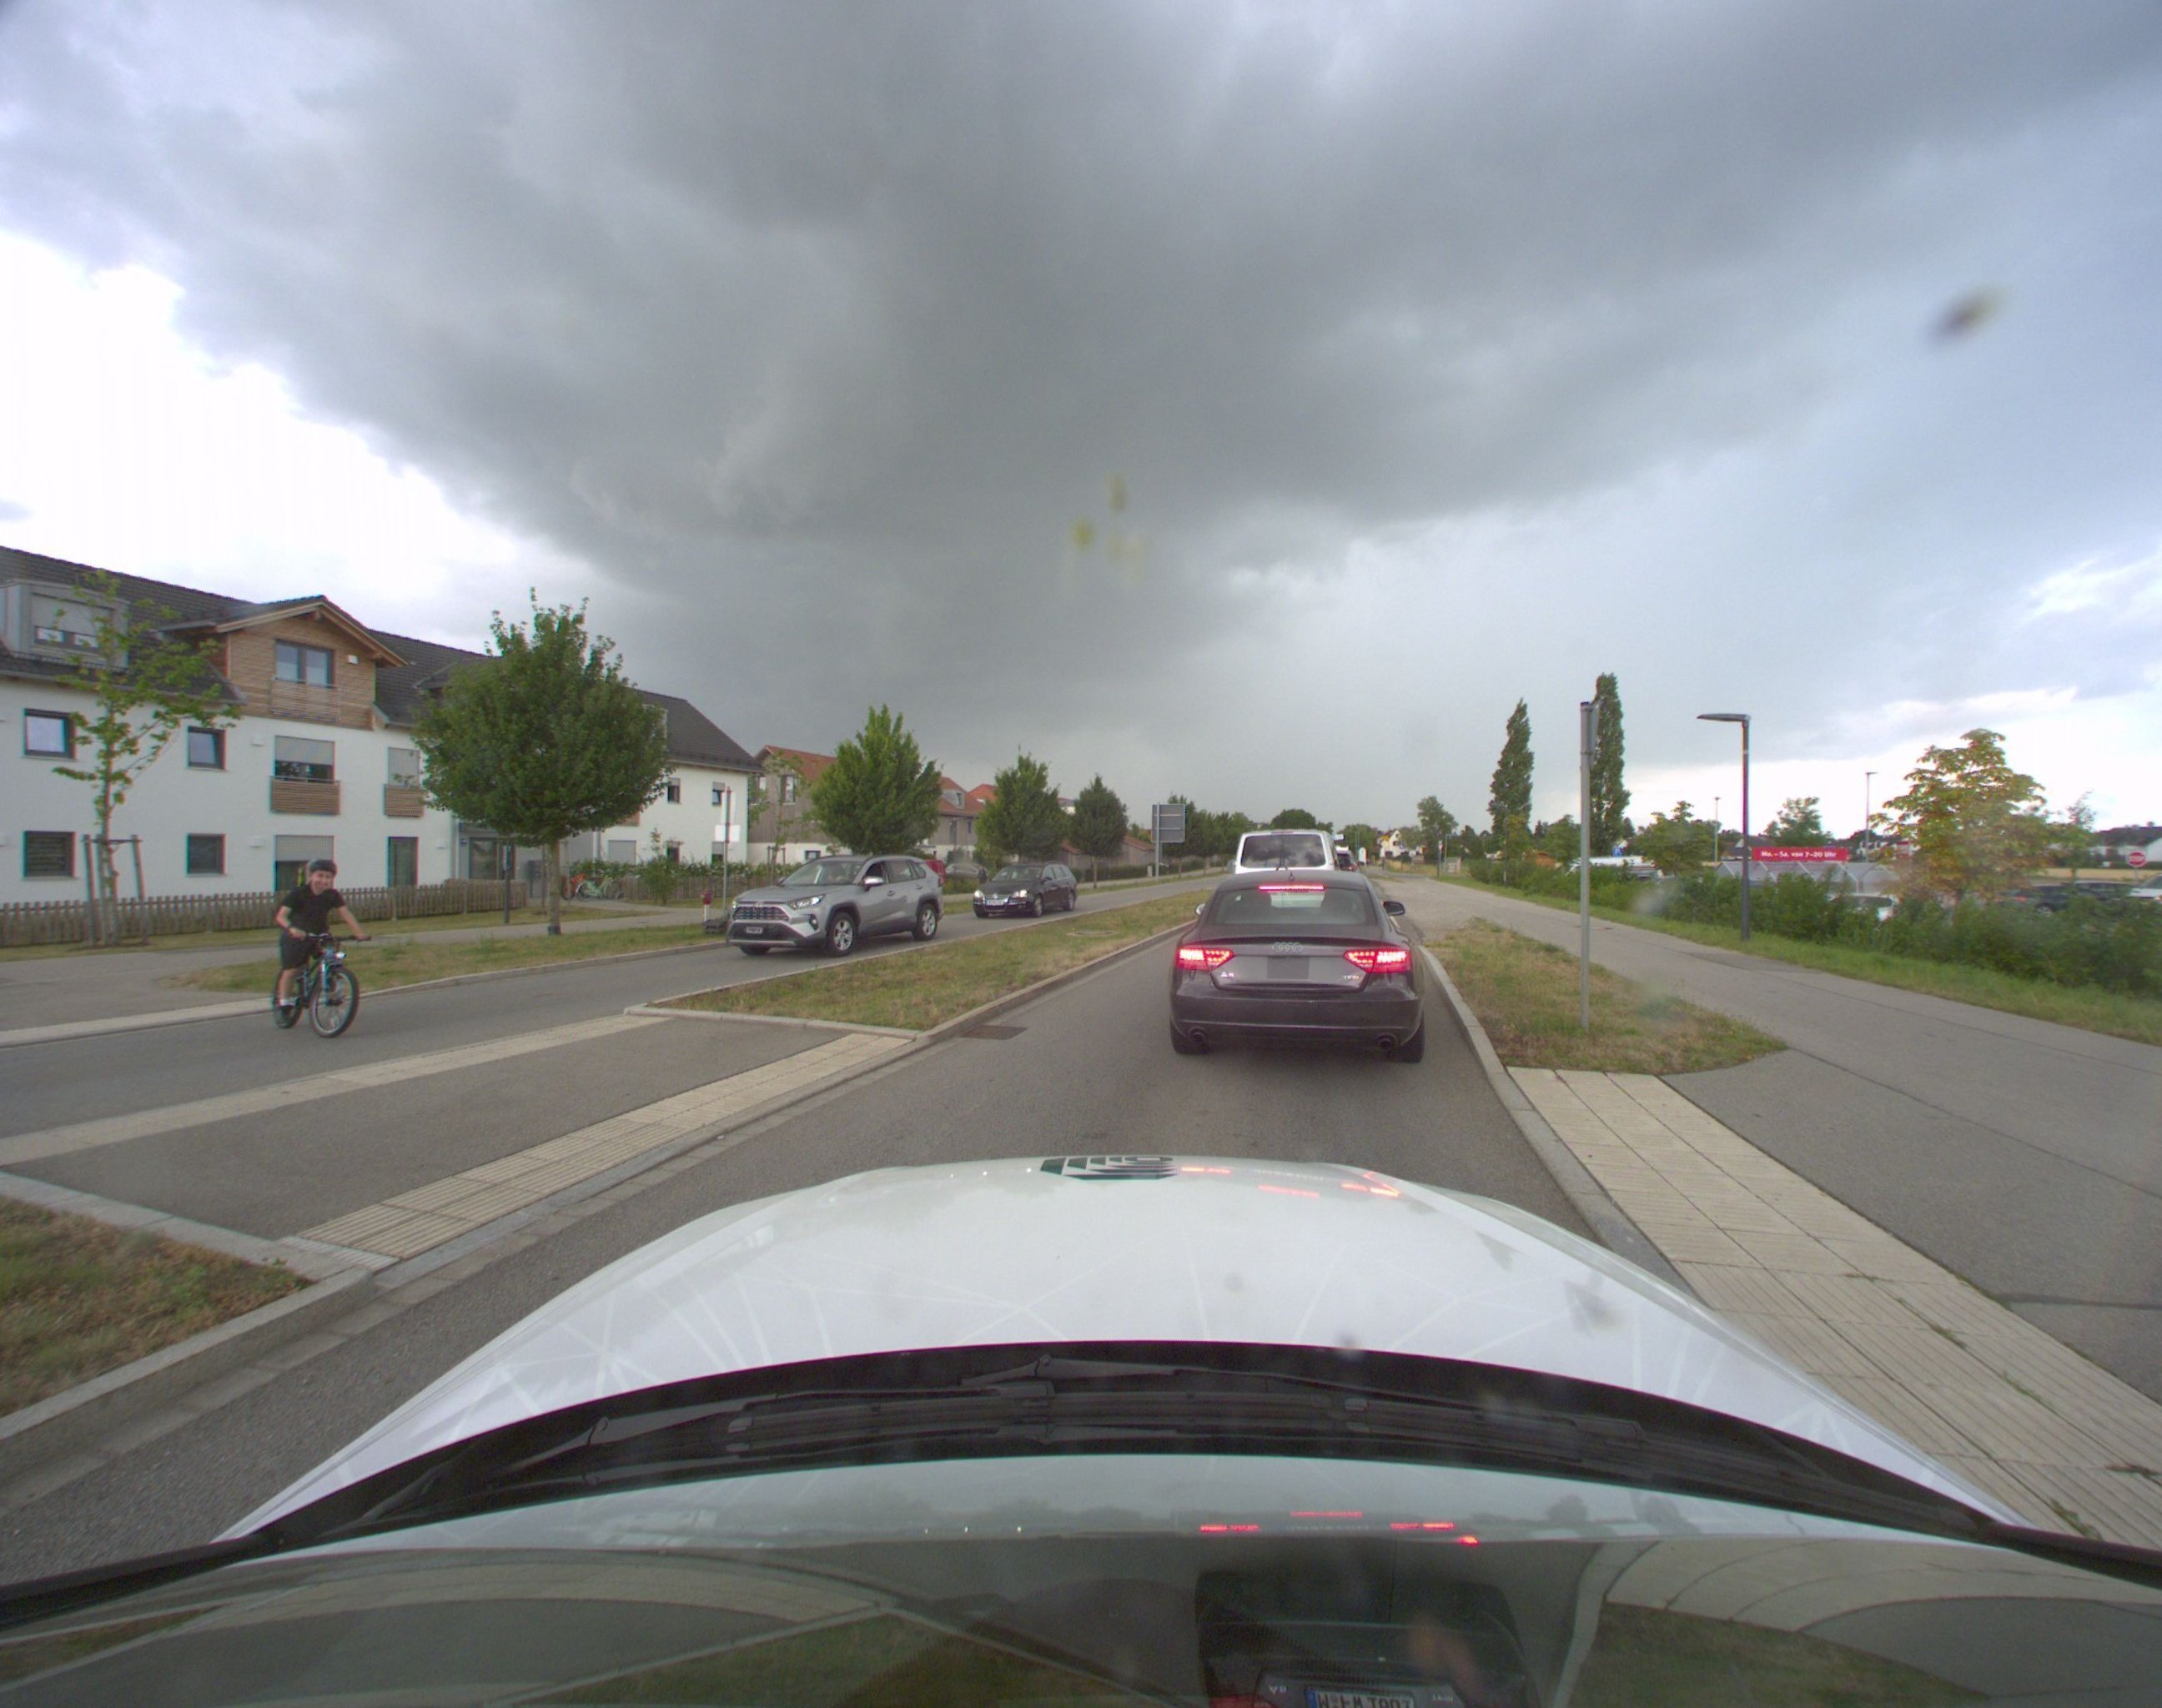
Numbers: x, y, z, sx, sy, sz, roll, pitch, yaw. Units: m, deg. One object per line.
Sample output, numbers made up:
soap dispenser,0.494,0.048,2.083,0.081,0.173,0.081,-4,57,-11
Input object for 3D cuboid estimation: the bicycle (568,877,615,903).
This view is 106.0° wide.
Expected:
bicycle,-17.730,1.298,29.514,0.364,0.843,1.554,3,1,20

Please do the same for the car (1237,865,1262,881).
car,15.793,1.753,76.067,1.716,1.410,4.227,0,0,20

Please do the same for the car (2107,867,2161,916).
car,48.425,1.620,35.244,5.080,2.013,2.005,0,1,7

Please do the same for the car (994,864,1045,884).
car,-4.878,1.557,64.873,3.702,1.482,1.693,1,0,15

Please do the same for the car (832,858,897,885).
car,-14.986,1.174,56.711,1.976,1.772,4.490,0,-1,23

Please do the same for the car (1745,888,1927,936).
car,26.097,1.966,28.336,4.199,1.440,2.009,0,0,18

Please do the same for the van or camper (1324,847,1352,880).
van or camper,26.721,0.990,84.645,2.604,3.324,6.852,1,-1,18

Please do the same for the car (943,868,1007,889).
car,-7.212,1.642,55.383,3.885,1.315,1.850,0,0,16

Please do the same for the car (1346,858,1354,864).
car,56.082,1.479,169.783,1.600,1.272,3.478,1,0,19

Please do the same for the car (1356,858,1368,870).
car,40.365,1.391,117.171,1.600,1.631,3.633,1,0,19

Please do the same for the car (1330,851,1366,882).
car,14.565,0.682,44.465,1.762,1.618,4.018,0,-1,18

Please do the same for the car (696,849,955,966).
car,-4.227,0.806,14.425,1.977,1.704,4.657,-1,0,19

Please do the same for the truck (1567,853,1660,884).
truck,35.000,0.938,53.692,4.762,1.872,2.007,1,0,14

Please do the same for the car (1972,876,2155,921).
car,40.835,1.822,34.011,4.520,1.664,2.009,0,0,18

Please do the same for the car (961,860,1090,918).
car,-1.418,0.912,22.689,1.738,1.416,4.479,-2,-1,22

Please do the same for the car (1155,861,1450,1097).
car,1.931,0.784,7.125,1.770,1.391,4.150,-1,-1,16

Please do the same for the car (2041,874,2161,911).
car,48.365,1.788,38.036,4.277,1.578,1.776,0,0,20

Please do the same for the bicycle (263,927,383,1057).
bicycle,-6.784,1.174,7.267,1.691,0.946,0.500,-2,-1,37

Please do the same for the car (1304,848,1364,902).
car,8.356,0.633,26.820,1.762,1.618,4.018,0,0,18

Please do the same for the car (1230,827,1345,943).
car,4.076,0.549,15.898,1.853,1.934,4.017,-2,-1,16

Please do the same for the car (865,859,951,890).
car,-10.075,1.150,47.373,4.491,1.680,2.010,0,0,21

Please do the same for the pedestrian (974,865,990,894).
pedestrian,-5.354,1.380,44.073,0.577,1.559,0.663,0,0,16

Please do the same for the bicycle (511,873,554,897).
bicycle,-20.414,1.154,30.342,0.364,0.843,1.344,3,1,20

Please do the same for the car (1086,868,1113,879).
car,1.800,1.865,78.854,2.455,1.028,1.189,0,0,12

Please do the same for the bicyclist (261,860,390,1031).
bicyclist,-6.930,0.784,7.472,0.858,1.446,0.729,-1,0,38
